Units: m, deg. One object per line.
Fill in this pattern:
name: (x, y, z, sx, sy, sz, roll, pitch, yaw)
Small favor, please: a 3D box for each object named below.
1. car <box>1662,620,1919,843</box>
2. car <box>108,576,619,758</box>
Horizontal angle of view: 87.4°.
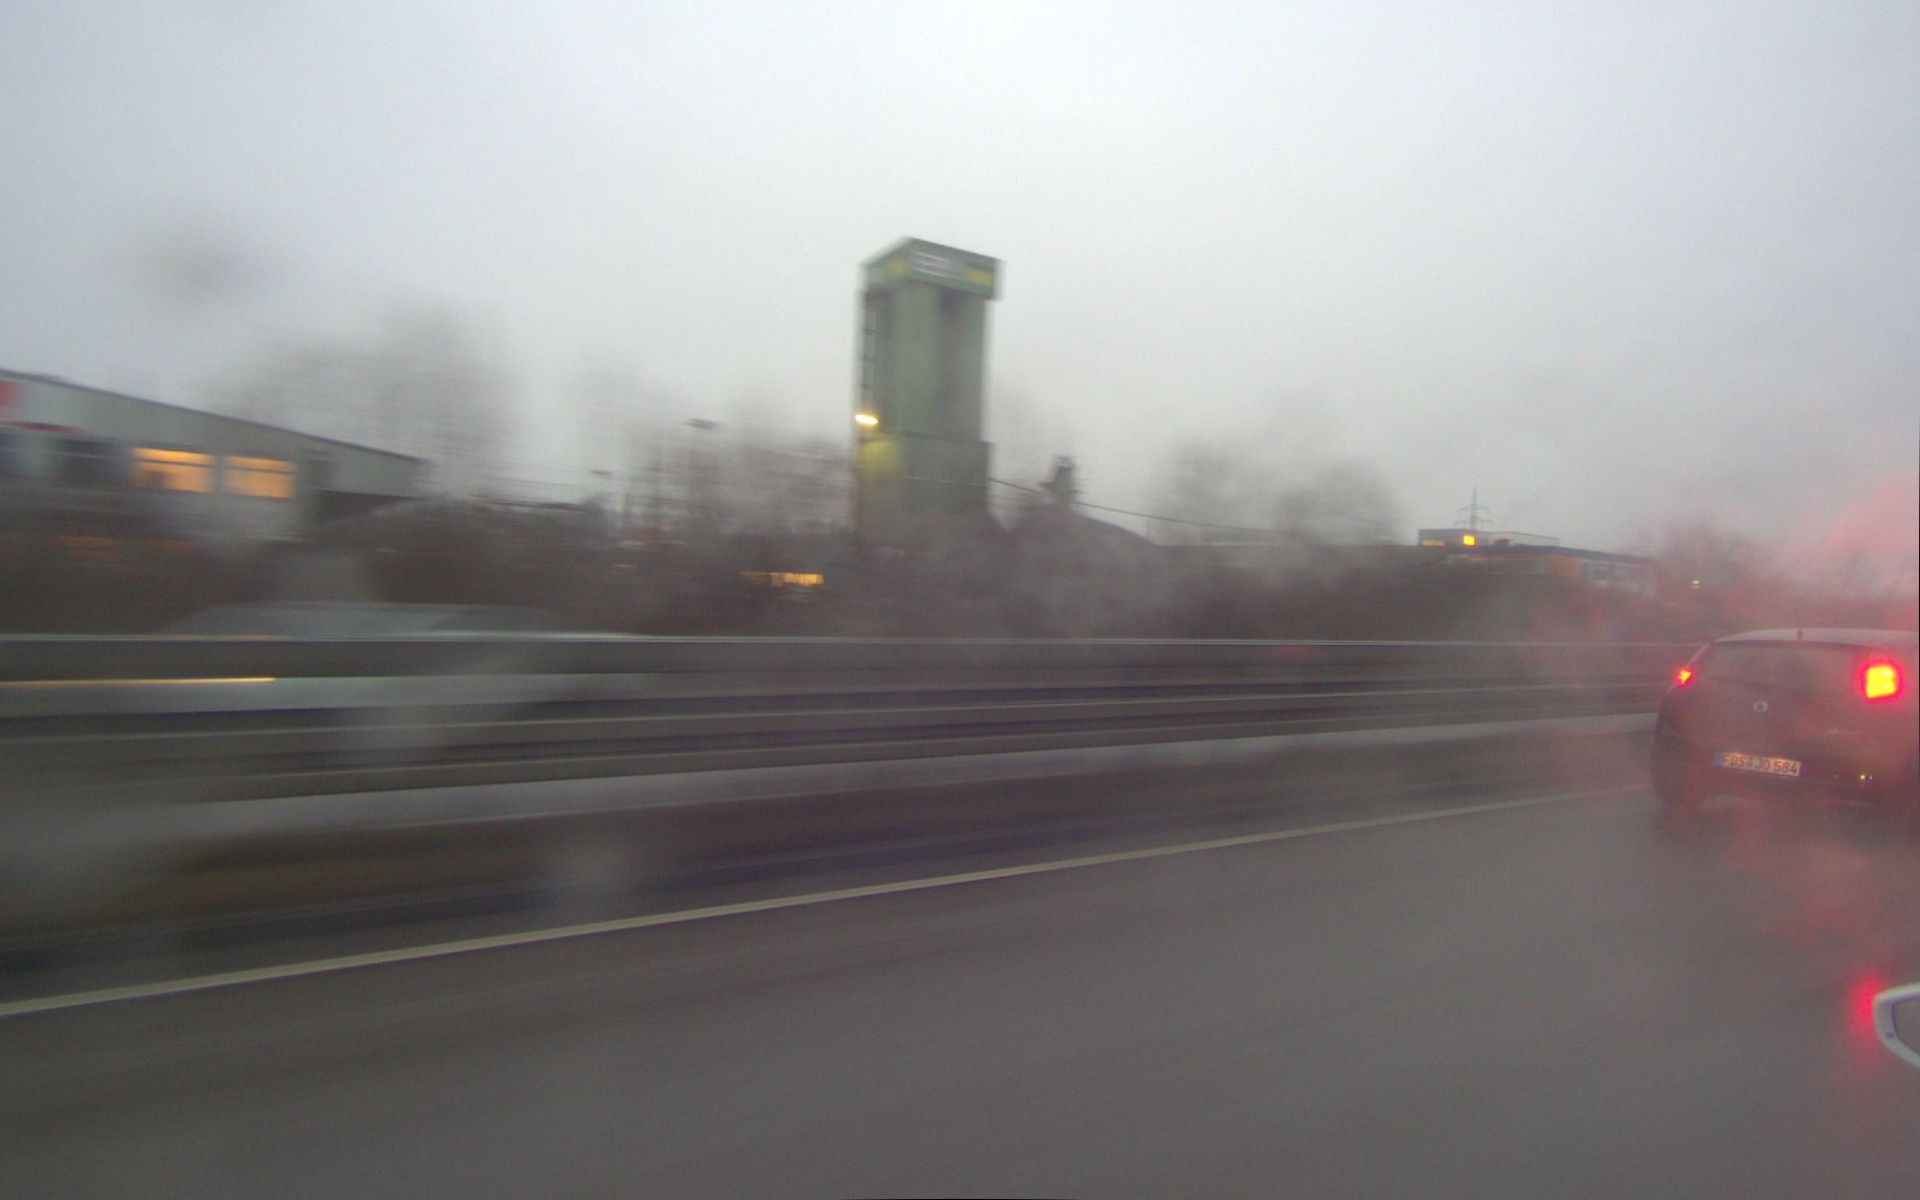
car: (7.631, 0.940, 8.203, 3.954, 1.410, 1.617, 2, 0, -31)
car: (-6.257, 0.659, 11.044, 4.476, 1.648, 1.753, 2, 0, -32)
